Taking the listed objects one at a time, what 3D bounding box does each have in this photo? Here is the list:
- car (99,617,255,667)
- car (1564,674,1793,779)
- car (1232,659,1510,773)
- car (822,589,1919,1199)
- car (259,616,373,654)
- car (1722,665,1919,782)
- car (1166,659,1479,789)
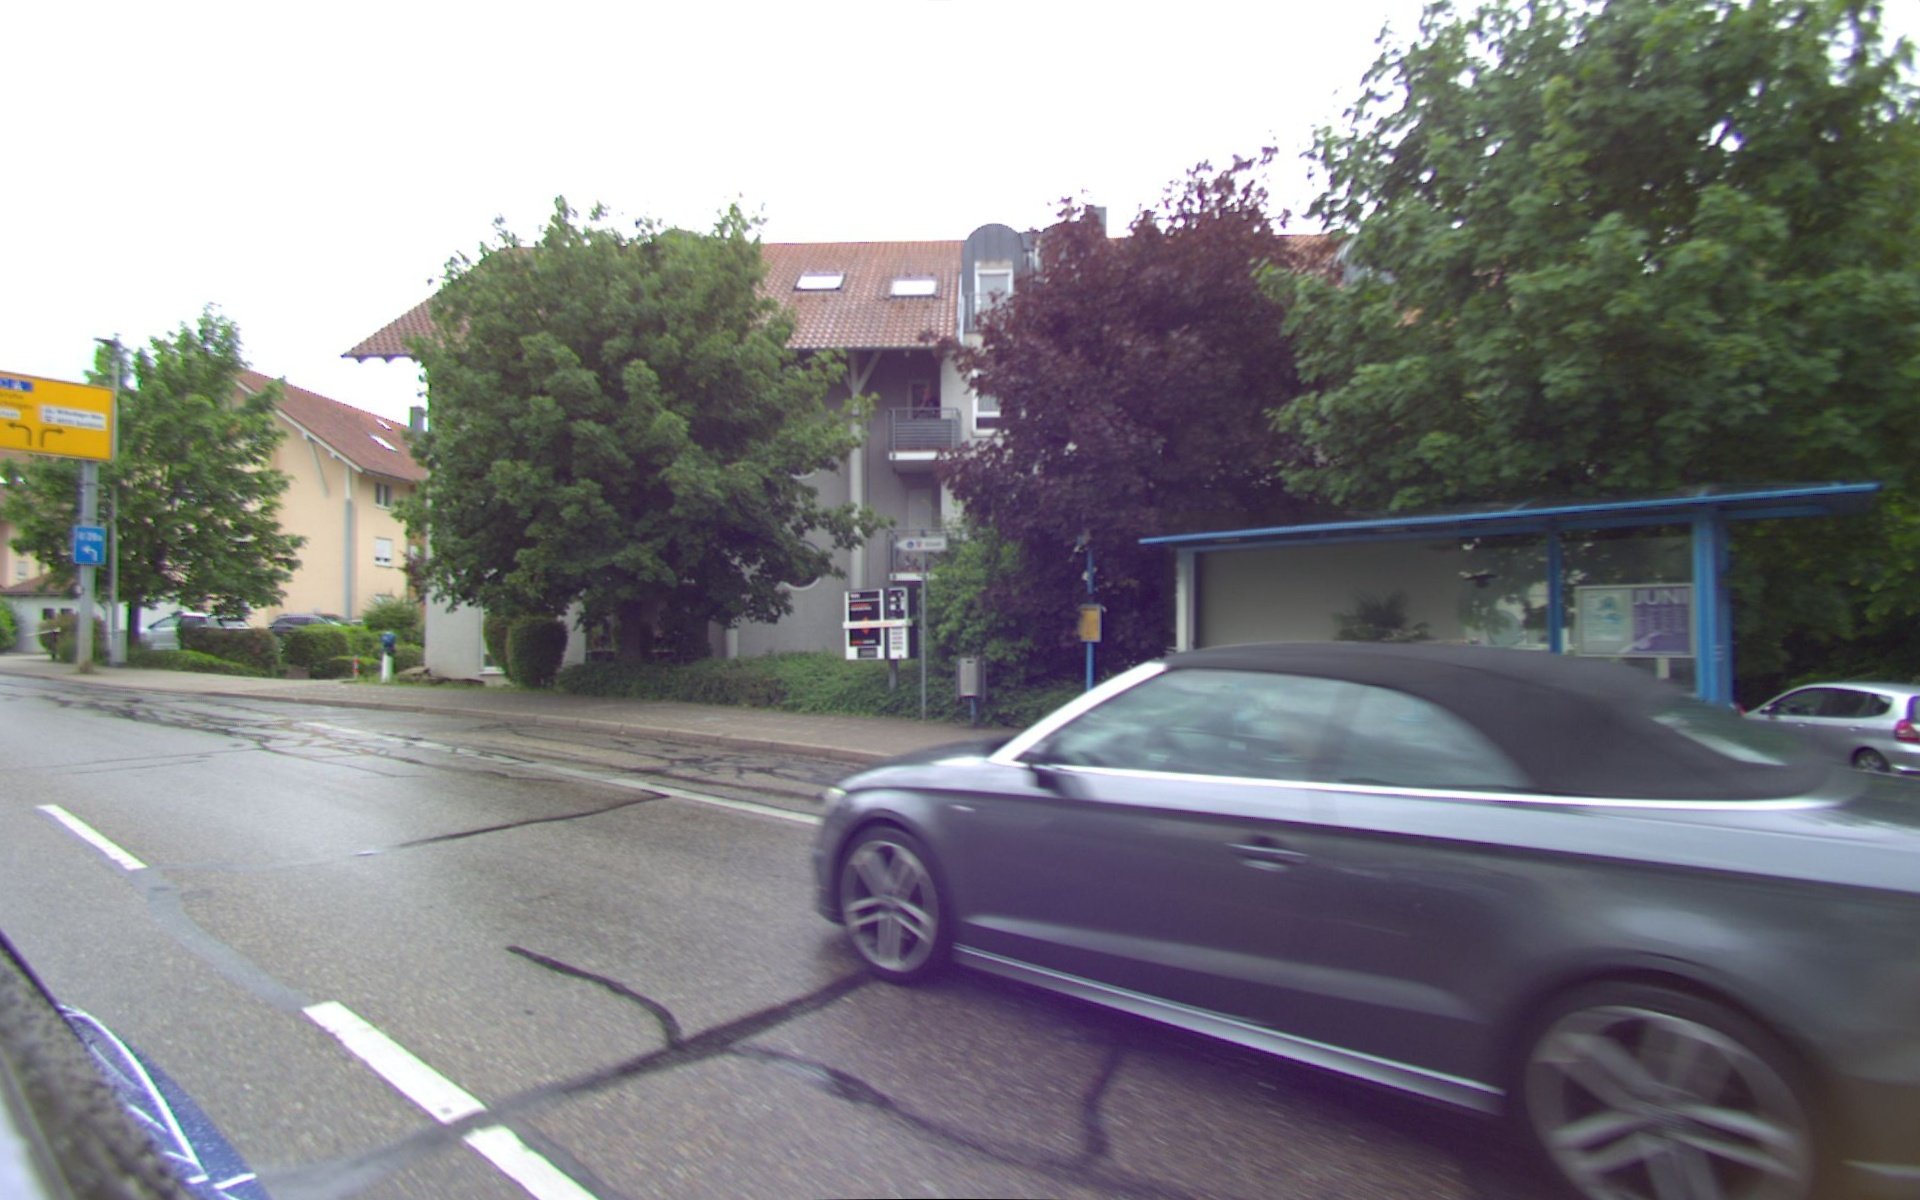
[{"bbox_3d":[-26.547,1.420,34.391,3.945,1.614,1.737,0,-2,1],"label":"car"},{"bbox_3d":[12.282,2.102,17.588,1.649,1.405,3.427,0,-1,4],"label":"car"},{"bbox_3d":[6.693,1.804,16.661,3.992,1.475,1.596,0,-1,36],"label":"car"},{"bbox_3d":[1.474,0.731,3.489,3.998,1.454,1.656,0,-2,41],"label":"car"},{"bbox_3d":[-24.505,1.322,38.572,3.392,1.392,1.515,0,-2,1],"label":"car"},{"bbox_3d":[14.309,1.858,16.014,1.647,1.443,3.716,0,-1,-1],"label":"car"},{"bbox_3d":[5.224,1.686,14.790,3.992,1.475,1.753,0,-1,36],"label":"car"}]
